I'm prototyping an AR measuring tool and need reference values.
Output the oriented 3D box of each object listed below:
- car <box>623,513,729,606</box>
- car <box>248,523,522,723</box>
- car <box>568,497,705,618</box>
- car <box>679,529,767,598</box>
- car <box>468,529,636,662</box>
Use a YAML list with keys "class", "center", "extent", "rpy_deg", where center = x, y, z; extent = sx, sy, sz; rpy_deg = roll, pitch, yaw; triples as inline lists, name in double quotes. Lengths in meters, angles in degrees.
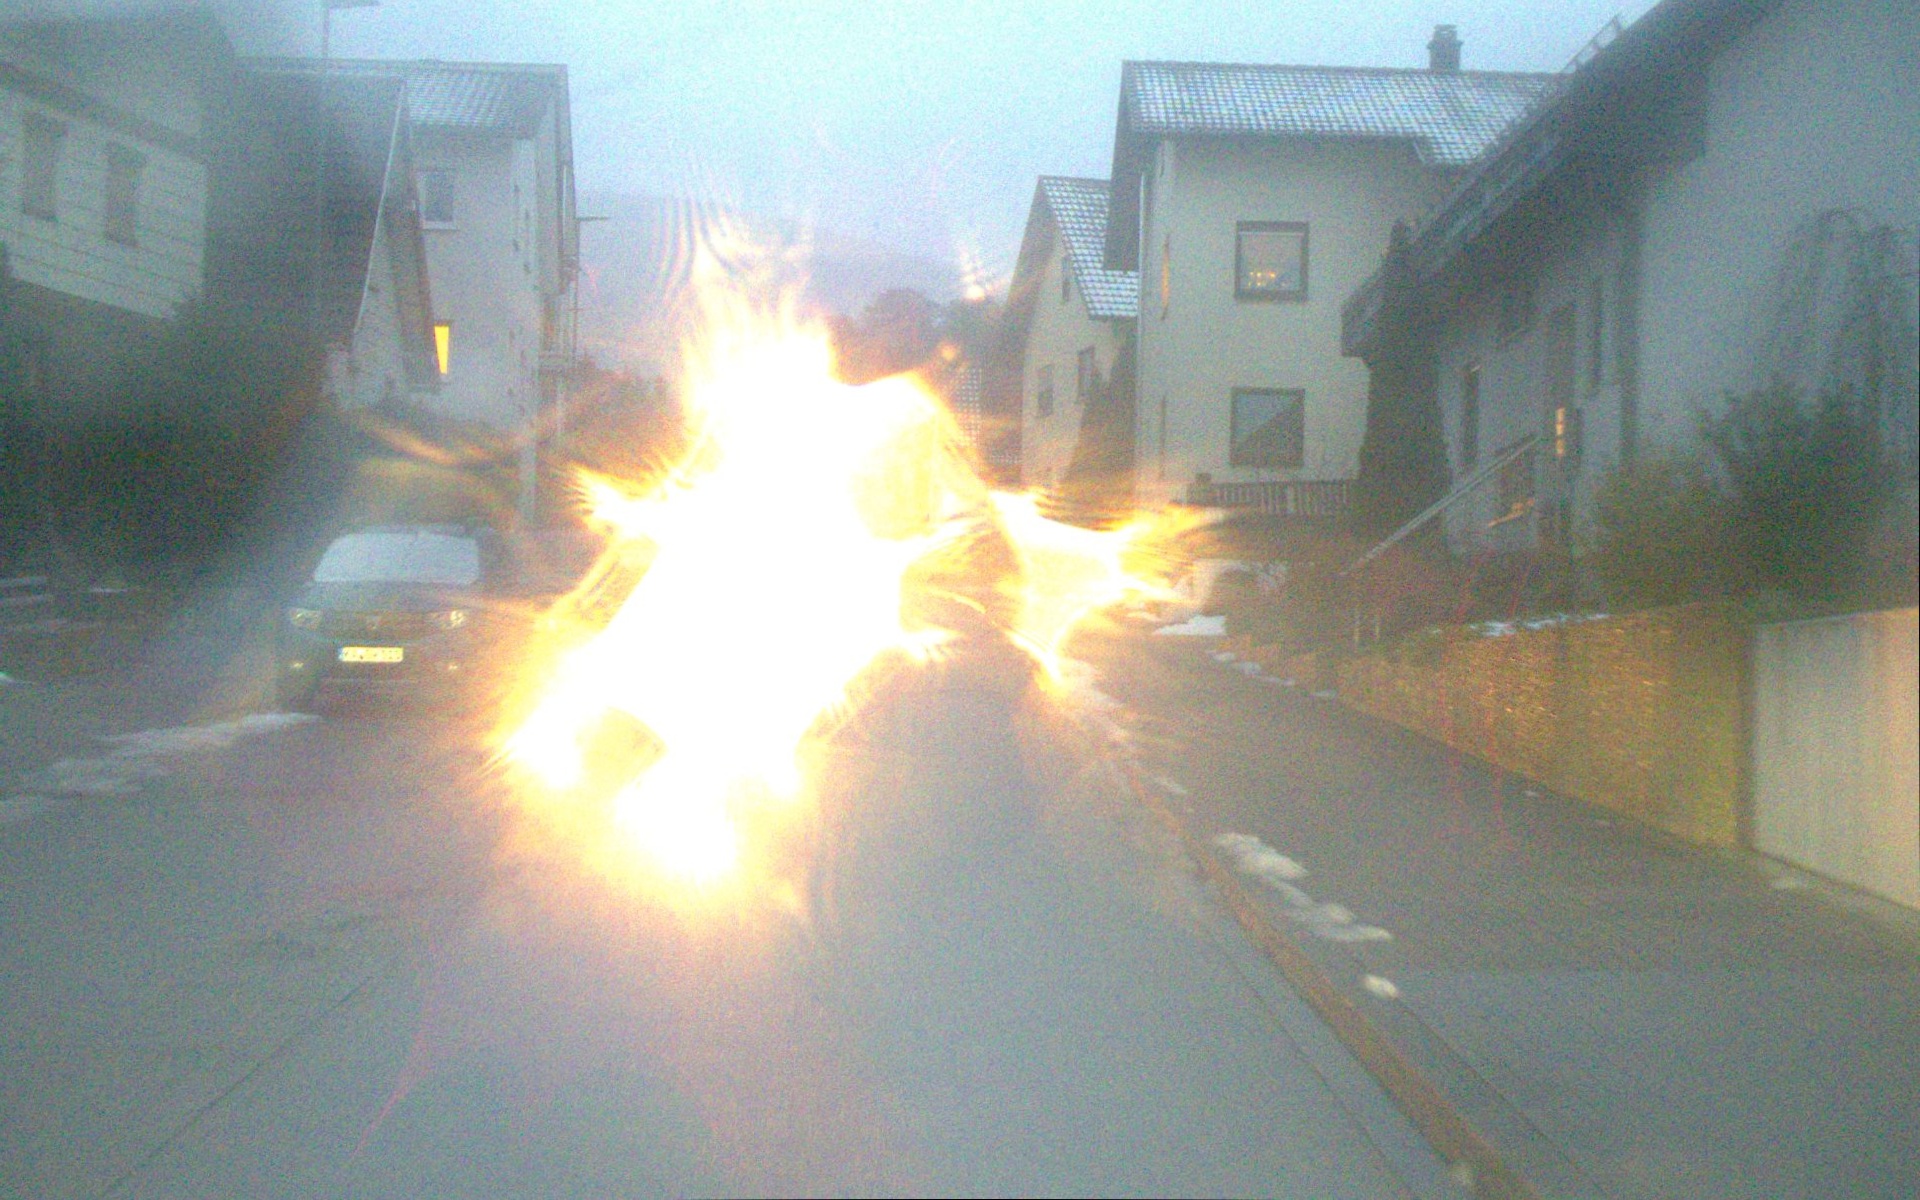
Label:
- class: "car"
  center: [-5.669, -0.825, 68.951]
  extent: [1.993, 1.794, 4.001]
  rpy_deg: [0, 1, -3]
- class: "car"
  center: [-4.831, 0.173, 29.380]
  extent: [1.683, 1.579, 4.176]
  rpy_deg: [0, 0, -1]
- class: "car"
  center: [-5.092, -0.692, 54.635]
  extent: [1.825, 1.829, 4.345]
  rpy_deg: [0, 1, -1]
- class: "car"
  center: [-5.993, -0.908, 87.266]
  extent: [1.993, 1.644, 4.000]
  rpy_deg: [1, 0, -1]
- class: "car"
  center: [-4.844, -0.097, 41.281]
  extent: [1.794, 1.498, 4.310]
  rpy_deg: [0, 1, -4]
